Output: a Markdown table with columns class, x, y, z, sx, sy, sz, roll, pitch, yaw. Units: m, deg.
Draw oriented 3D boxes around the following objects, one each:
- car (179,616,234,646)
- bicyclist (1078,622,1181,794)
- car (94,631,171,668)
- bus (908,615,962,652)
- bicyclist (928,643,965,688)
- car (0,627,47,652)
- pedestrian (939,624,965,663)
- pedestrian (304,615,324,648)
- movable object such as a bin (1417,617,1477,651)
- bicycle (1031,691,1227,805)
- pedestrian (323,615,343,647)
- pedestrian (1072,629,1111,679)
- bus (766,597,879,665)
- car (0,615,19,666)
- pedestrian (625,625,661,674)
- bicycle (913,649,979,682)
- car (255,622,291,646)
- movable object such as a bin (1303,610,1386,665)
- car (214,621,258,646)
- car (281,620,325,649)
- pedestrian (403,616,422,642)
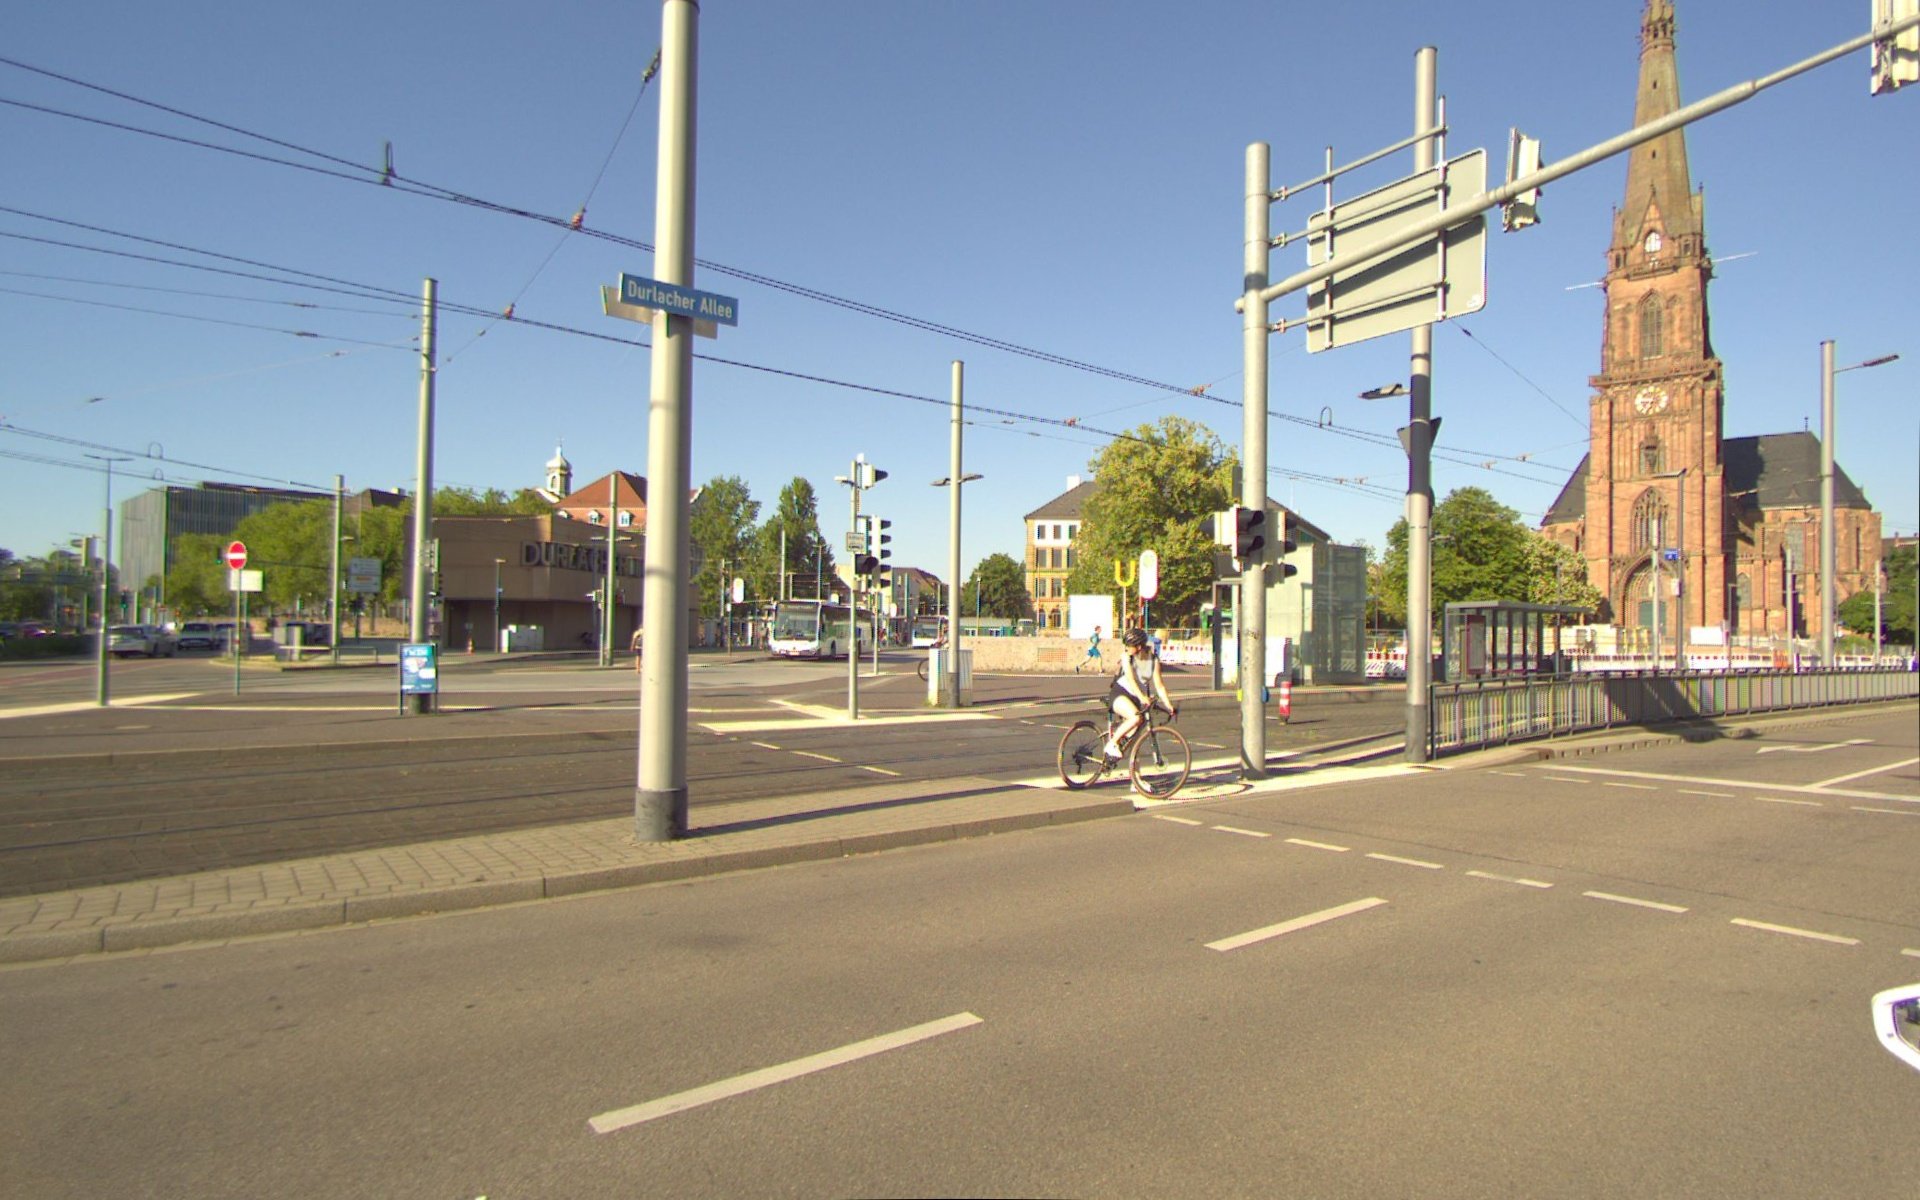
| class | x | y | z | sx | sy | sz | roll | pitch | yaw |
| --- | --- | --- | --- | --- | --- | --- | --- | --- | --- |
| car | -42.607 | 1.747 | 56.894 | 1.698 | 1.652 | 3.847 | 0 | -1 | -25 |
| bicyclist | 1.701 | 1.053 | 10.087 | 0.809 | 1.637 | 0.668 | 3 | -4 | -41 |
| car | -35.563 | 2.112 | 43.261 | 1.827 | 1.441 | 4.395 | 5 | -4 | -31 |
| bus | -2.268 | 3.095 | 96.169 | 3.185 | 3.236 | 12.669 | -2 | -1 | 7 |
| bicyclist | -0.442 | 2.107 | 32.370 | 0.890 | 1.363 | 0.810 | 2 | 2 | -27 |
| car | -66.270 | 2.794 | 70.688 | 1.976 | 1.706 | 4.670 | -1 | -1 | -30 |
| pedestrian | -0.349 | 1.949 | 45.122 | 1.037 | 1.708 | 0.728 | -2 | -1 | -8 |
| pedestrian | -36.726 | 1.797 | 57.113 | 0.798 | 1.792 | 0.952 | -1 | -1 | -40 |
| movable object such as a bin | 25.123 | 1.734 | 51.789 | 3.829 | 1.608 | 1.164 | -1 | -1 | -38 |
| bicycle | 1.655 | 1.436 | 10.118 | 0.809 | 0.954 | 1.873 | 3 | -4 | -41 |
| pedestrian | -35.980 | 1.780 | 57.637 | 0.798 | 1.792 | 0.962 | -1 | -1 | -39 |
| pedestrian | 4.879 | 2.002 | 37.367 | 1.168 | 1.792 | 0.796 | -1 | -1 | -37 |
| bus | -7.179 | 1.608 | 54.906 | 2.784 | 3.236 | 12.669 | -2 | -1 | 7 |
| car | -33.890 | 1.348 | 33.704 | 1.915 | 1.769 | 4.596 | 2 | -3 | -24 |
| pedestrian | -11.192 | 1.743 | 35.456 | 1.040 | 1.708 | 0.726 | -3 | -1 | 37 |
| bicycle | -0.446 | 2.107 | 32.372 | 1.976 | 0.954 | 0.810 | 2 | 2 | -27 |
| car | -51.637 | 2.572 | 75.539 | 1.836 | 1.652 | 3.840 | -2 | 0 | -30 |
| movable object such as a bin | 19.240 | 1.835 | 50.101 | 2.592 | 2.559 | 5.152 | -3 | -1 | 35 |
| car | -48.818 | 2.237 | 67.806 | 1.835 | 1.652 | 3.843 | 2 | -2 | -28 |
| car | -40.422 | 2.093 | 61.861 | 1.842 | 1.652 | 4.008 | -2 | 0 | -28 |
| pedestrian | -34.501 | 1.851 | 63.280 | 0.798 | 1.588 | 1.166 | -1 | -1 | -39 |
